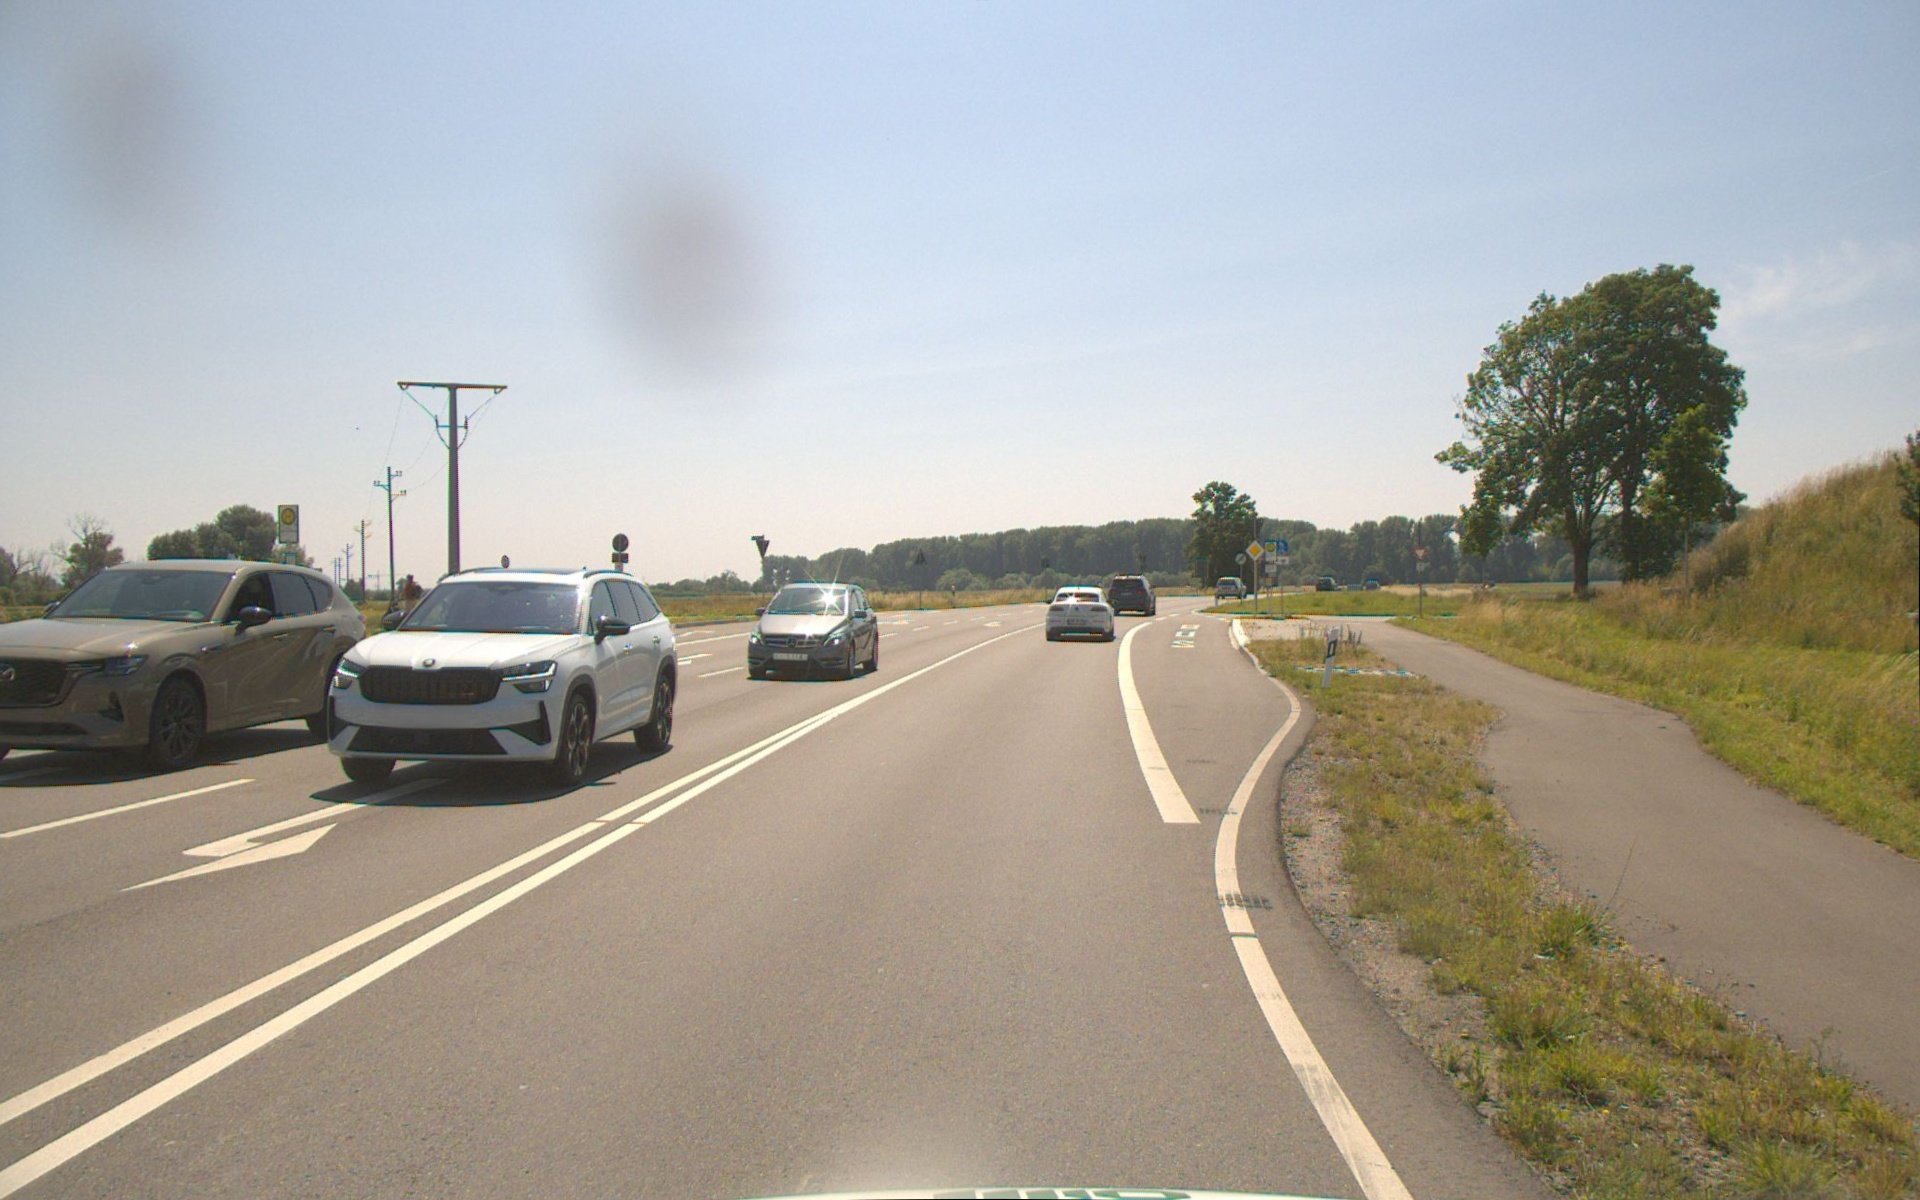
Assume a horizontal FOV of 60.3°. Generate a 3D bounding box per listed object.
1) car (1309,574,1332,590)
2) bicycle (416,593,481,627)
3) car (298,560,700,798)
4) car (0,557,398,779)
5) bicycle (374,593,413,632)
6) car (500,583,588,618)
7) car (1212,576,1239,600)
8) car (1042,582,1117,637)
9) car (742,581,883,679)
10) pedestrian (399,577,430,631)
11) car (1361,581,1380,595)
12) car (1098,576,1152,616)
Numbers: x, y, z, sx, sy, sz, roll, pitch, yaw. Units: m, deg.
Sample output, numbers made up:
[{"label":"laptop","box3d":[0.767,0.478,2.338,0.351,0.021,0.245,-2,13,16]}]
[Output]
[{"label":"car","box3d":[36.104,-1.784,165.542,1.762,1.502,4.416,-2,-1,17]},{"label":"bicycle","box3d":[-22.692,0.434,73.395,2.559,1.396,0.900,-2,-2,-7]},{"label":"car","box3d":[-3.679,0.564,14.227,1.839,1.679,4.845,1,0,3]},{"label":"car","box3d":[-7.064,0.496,14.986,1.920,1.679,4.793,0,0,5]},{"label":"bicycle","box3d":[-18.945,0.411,55.305,0.480,1.270,1.512,0,-1,13]},{"label":"car","box3d":[-16.877,0.035,67.238,1.655,1.355,4.040,1,0,16]},{"label":"car","box3d":[18.133,-0.815,112.976,1.761,1.454,4.096,-3,-2,9]},{"label":"car","box3d":[3.414,0.292,46.539,1.808,1.459,4.611,0,-1,8]},{"label":"car","box3d":[-2.517,0.472,29.223,1.695,1.582,4.382,1,0,5]},{"label":"pedestrian","box3d":[-18.323,0.142,55.573,0.595,1.817,0.847,0,-1,14]},{"label":"car","box3d":[51.822,-1.518,208.698,1.763,1.548,3.883,-2,0,21]},{"label":"car","box3d":[7.251,-0.154,72.156,1.893,1.645,4.382,1,-1,12]}]
